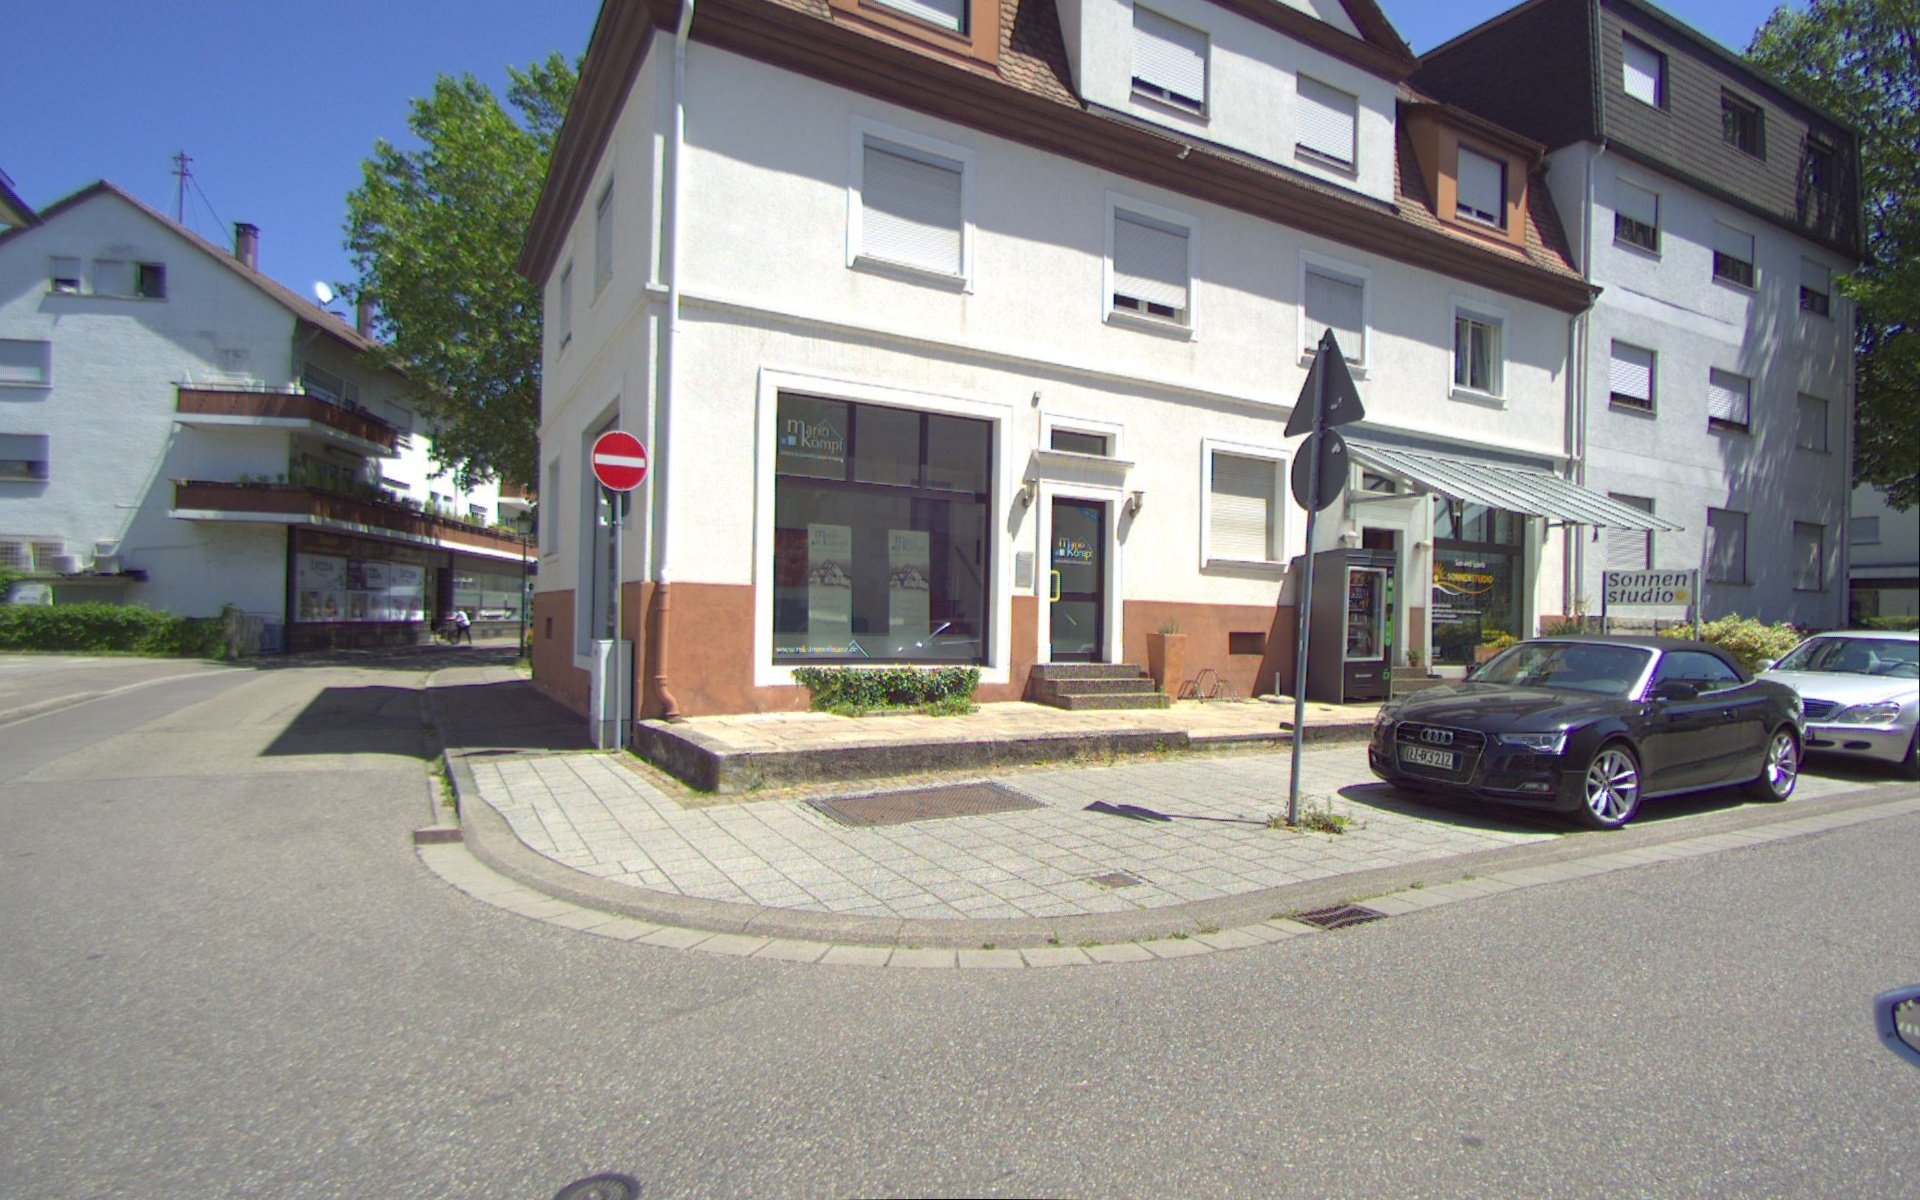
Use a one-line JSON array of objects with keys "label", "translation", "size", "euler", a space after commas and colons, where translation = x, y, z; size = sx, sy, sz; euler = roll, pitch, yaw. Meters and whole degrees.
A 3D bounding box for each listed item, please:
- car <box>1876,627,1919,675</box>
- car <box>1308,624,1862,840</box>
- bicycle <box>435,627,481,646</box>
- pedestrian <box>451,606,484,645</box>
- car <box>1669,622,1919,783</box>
[{"label": "car", "translation": [32.112, 1.668, 33.233], "size": [1.863, 1.506, 3.988], "euler": [1, -1, 30]}, {"label": "car", "translation": [5.603, 0.971, 8.837], "size": [5.036, 1.392, 1.934], "euler": [2, 0, -29]}, {"label": "bicycle", "translation": [-21.030, 1.534, 42.083], "size": [0.596, 0.790, 1.637], "euler": [0, -1, 36]}, {"label": "pedestrian", "translation": [-20.740, 1.078, 42.335], "size": [0.898, 1.618, 1.253], "euler": [1, -1, -10]}, {"label": "car", "translation": [10.824, 1.070, 11.784], "size": [5.292, 1.471, 1.972], "euler": [2, 0, -29]}]
